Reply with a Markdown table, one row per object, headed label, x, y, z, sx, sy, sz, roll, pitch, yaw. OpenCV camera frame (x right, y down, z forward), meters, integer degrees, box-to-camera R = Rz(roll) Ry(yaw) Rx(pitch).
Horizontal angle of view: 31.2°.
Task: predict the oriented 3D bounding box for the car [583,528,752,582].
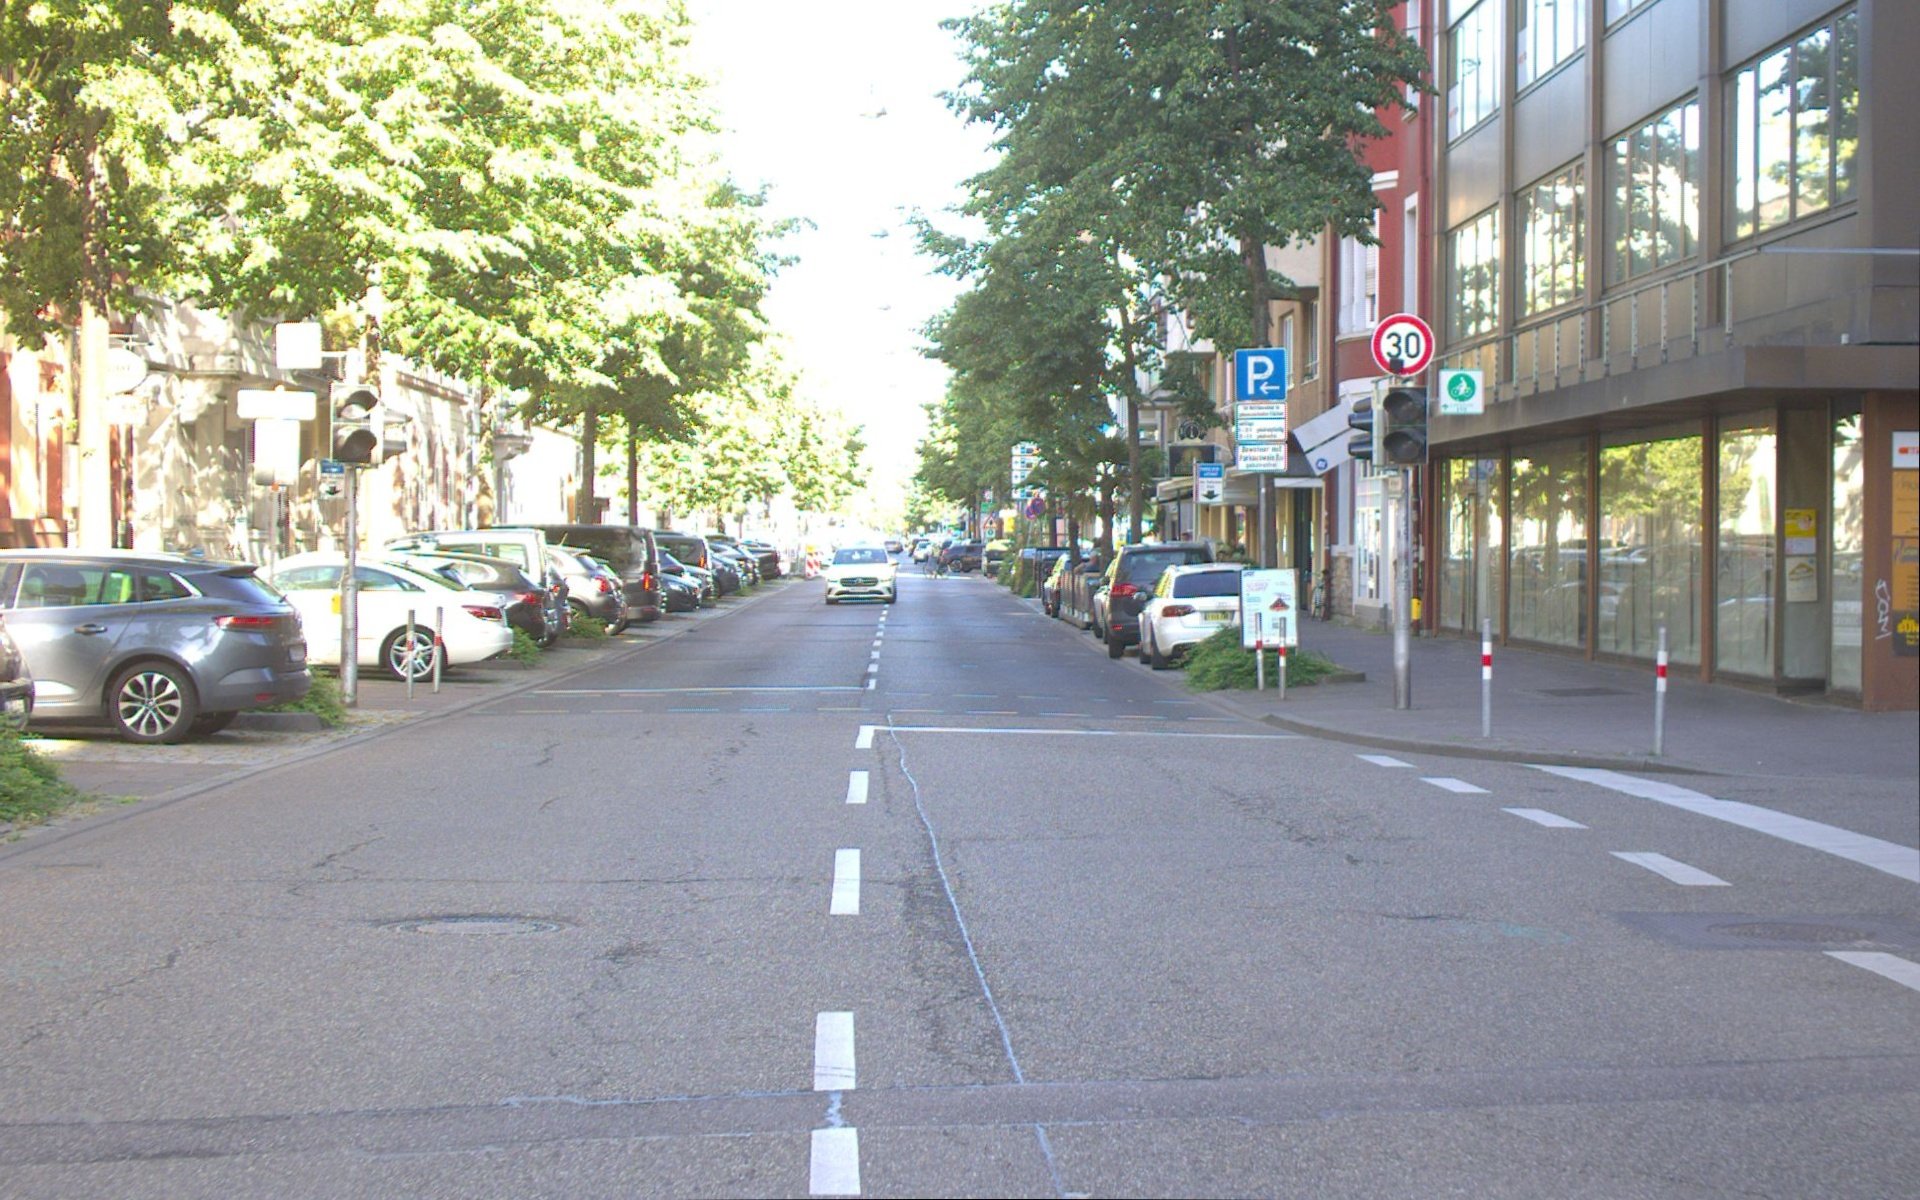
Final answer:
| label | x | y | z | sx | sy | sz | roll | pitch | yaw |
| --- | --- | --- | --- | --- | --- | --- | --- | --- | --- |
| car | -8.281 | -1.289 | 97.601 | 4.645 | 1.454 | 1.684 | 1 | 1 | -1 |

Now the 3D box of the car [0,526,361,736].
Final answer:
| label | x | y | z | sx | sy | sz | roll | pitch | yaw |
| --- | --- | --- | --- | --- | --- | --- | --- | --- | --- |
| car | -7.013 | 0.199 | 26.698 | 4.339 | 1.539 | 1.944 | 1 | 1 | 1 |

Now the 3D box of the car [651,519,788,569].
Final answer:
| label | x | y | z | sx | sy | sz | roll | pitch | yaw |
| --- | --- | --- | --- | --- | --- | --- | --- | --- | --- |
| car | -8.471 | -1.991 | 121.273 | 4.680 | 1.687 | 1.808 | 1 | 1 | 1 |

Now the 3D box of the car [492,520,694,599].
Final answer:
| label | x | y | z | sx | sy | sz | roll | pitch | yaw |
| --- | --- | --- | --- | --- | --- | --- | --- | --- | --- |
| car | -8.204 | -0.913 | 77.099 | 4.339 | 1.703 | 1.917 | 1 | 1 | -1 |

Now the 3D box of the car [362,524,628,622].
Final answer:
| label | x | y | z | sx | sy | sz | roll | pitch | yaw |
| --- | --- | --- | --- | --- | --- | --- | --- | --- | --- |
| car | -7.918 | -0.469 | 58.881 | 4.339 | 1.590 | 1.917 | 1 | 1 | -2 |

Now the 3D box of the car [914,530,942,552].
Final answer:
| label | x | y | z | sx | sy | sz | roll | pitch | yaw |
| --- | --- | --- | --- | --- | --- | --- | --- | --- | --- |
| car | -2.062 | -3.792 | 220.241 | 1.792 | 1.406 | 4.000 | 0 | 2 | -1 |

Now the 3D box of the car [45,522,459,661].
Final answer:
| label | x | y | z | sx | sy | sz | roll | pitch | yaw |
| --- | --- | --- | --- | --- | --- | --- | --- | --- | --- |
| car | -8.539 | -0.119 | 41.781 | 4.698 | 1.487 | 2.001 | 2 | 2 | -5 |

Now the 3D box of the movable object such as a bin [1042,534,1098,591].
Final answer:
| label | x | y | z | sx | sy | sz | roll | pitch | yaw |
| --- | --- | --- | --- | --- | --- | --- | --- | --- | --- |
| movable object such as a bin | 2.822 | -0.965 | 88.363 | 1.399 | 1.449 | 1.146 | 0 | 1 | -1 |

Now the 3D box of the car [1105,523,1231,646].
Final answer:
| label | x | y | z | sx | sy | sz | roll | pitch | yaw |
| --- | --- | --- | --- | --- | --- | --- | --- | --- | --- |
| car | 3.246 | -0.287 | 54.034 | 1.822 | 1.771 | 4.930 | -2 | 1 | 3 |

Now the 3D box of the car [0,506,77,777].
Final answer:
| label | x | y | z | sx | sy | sz | roll | pitch | yaw |
| --- | --- | --- | --- | --- | --- | --- | --- | --- | --- |
| car | -7.764 | 0.213 | 21.419 | 3.987 | 1.634 | 1.944 | 1 | 1 | 1 |

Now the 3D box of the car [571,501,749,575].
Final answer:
| label | x | y | z | sx | sy | sz | roll | pitch | yaw |
| --- | --- | --- | --- | --- | --- | --- | --- | --- | --- |
| car | -8.209 | -1.705 | 94.281 | 4.680 | 1.943 | 1.917 | 1 | 1 | 1 |

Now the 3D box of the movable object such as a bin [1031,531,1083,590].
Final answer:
| label | x | y | z | sx | sy | sz | roll | pitch | yaw |
| --- | --- | --- | --- | --- | --- | --- | --- | --- | --- |
| movable object such as a bin | 2.556 | -1.039 | 90.703 | 1.330 | 1.537 | 1.146 | 0 | 1 | -1 |

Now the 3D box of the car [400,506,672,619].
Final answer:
| label | x | y | z | sx | sy | sz | roll | pitch | yaw |
| --- | --- | --- | --- | --- | --- | --- | --- | --- | --- |
| car | -7.544 | -0.678 | 61.462 | 4.573 | 1.920 | 1.930 | 1 | 1 | 2 |

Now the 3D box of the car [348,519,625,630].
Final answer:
| label | x | y | z | sx | sy | sz | roll | pitch | yaw |
| --- | --- | --- | --- | --- | --- | --- | --- | --- | --- |
| car | -7.737 | -0.427 | 56.459 | 4.339 | 1.727 | 1.917 | 1 | 1 | -2 |

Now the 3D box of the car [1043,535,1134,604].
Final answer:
| label | x | y | z | sx | sy | sz | roll | pitch | yaw |
| --- | --- | --- | --- | --- | --- | --- | --- | --- | --- |
| car | 2.954 | -0.737 | 79.820 | 1.822 | 1.467 | 4.912 | -2 | 1 | -1 |

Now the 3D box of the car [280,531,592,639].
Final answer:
| label | x | y | z | sx | sy | sz | roll | pitch | yaw |
| --- | --- | --- | --- | --- | --- | --- | --- | --- | --- |
| car | -7.884 | -0.241 | 51.940 | 4.340 | 1.539 | 1.916 | 1 | 1 | 4 |

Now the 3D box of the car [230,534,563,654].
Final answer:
| label | x | y | z | sx | sy | sz | roll | pitch | yaw |
| --- | --- | --- | --- | --- | --- | --- | --- | --- | --- |
| car | -7.649 | -0.090 | 46.496 | 4.338 | 1.539 | 1.965 | 1 | 1 | -12 |

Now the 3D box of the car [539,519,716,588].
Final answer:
| label | x | y | z | sx | sy | sz | roll | pitch | yaw |
| --- | --- | --- | --- | --- | --- | --- | --- | --- | --- |
| car | -8.815 | -1.243 | 91.340 | 4.466 | 1.766 | 1.917 | 1 | 1 | 1 |

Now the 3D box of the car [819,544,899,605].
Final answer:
| label | x | y | z | sx | sy | sz | roll | pitch | yaw |
| --- | --- | --- | --- | --- | --- | --- | --- | --- | --- |
| car | -2.635 | -0.695 | 90.524 | 1.910 | 1.539 | 4.354 | 1 | 1 | 1 |

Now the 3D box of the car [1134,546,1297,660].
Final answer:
| label | x | y | z | sx | sy | sz | roll | pitch | yaw |
| --- | --- | --- | --- | --- | --- | --- | --- | --- | --- |
| car | 3.481 | -0.003 | 47.610 | 1.822 | 1.398 | 4.842 | -2 | 1 | 0 |

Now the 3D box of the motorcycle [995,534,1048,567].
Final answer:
| label | x | y | z | sx | sy | sz | roll | pitch | yaw |
| --- | --- | --- | --- | --- | --- | --- | --- | --- | --- |
| motorcycle | 2.484 | -2.004 | 138.566 | 1.977 | 1.325 | 0.912 | 0 | 1 | -13 |

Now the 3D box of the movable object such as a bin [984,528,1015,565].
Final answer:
| label | x | y | z | sx | sy | sz | roll | pitch | yaw |
| --- | --- | --- | --- | --- | --- | --- | --- | --- | --- |
| movable object such as a bin | 1.718 | -2.313 | 148.894 | 1.143 | 1.556 | 1.459 | 0 | 1 | 8 |

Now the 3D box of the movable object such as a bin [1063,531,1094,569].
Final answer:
| label | x | y | z | sx | sy | sz | roll | pitch | yaw |
| --- | --- | --- | --- | --- | --- | --- | --- | --- | --- |
| movable object such as a bin | 5.027 | -2.141 | 146.350 | 1.205 | 1.622 | 1.498 | 0 | 1 | -2 |

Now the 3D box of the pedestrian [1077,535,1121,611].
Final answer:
| label | x | y | z | sx | sy | sz | roll | pitch | yaw |
| --- | --- | --- | --- | --- | --- | --- | --- | --- | --- |
| pedestrian | 2.818 | -0.544 | 69.757 | 0.750 | 1.531 | 0.807 | 0 | 1 | 14 |

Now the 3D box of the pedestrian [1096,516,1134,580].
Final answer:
| label | x | y | z | sx | sy | sz | roll | pitch | yaw |
| --- | --- | --- | --- | --- | --- | --- | --- | --- | --- |
| pedestrian | 4.680 | -1.572 | 103.932 | 0.926 | 1.929 | 0.760 | 1 | 1 | 24 |

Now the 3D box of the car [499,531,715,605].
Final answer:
| label | x | y | z | sx | sy | sz | roll | pitch | yaw |
| --- | --- | --- | --- | --- | --- | --- | --- | --- | --- |
| car | -7.669 | -0.700 | 74.902 | 4.466 | 1.535 | 1.916 | 1 | 1 | 1 |

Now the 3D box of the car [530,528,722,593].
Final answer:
| label | x | y | z | sx | sy | sz | roll | pitch | yaw |
| --- | --- | --- | --- | --- | --- | --- | --- | --- | --- |
| car | -8.195 | -0.979 | 84.604 | 4.466 | 1.535 | 1.916 | 1 | 1 | 3 |

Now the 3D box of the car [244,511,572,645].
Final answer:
| label | x | y | z | sx | sy | sz | roll | pitch | yaw |
| --- | --- | --- | --- | --- | --- | --- | --- | --- | --- |
| car | -7.865 | -0.332 | 49.214 | 4.339 | 1.818 | 1.930 | 1 | 1 | 1 |

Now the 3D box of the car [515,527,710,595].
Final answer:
| label | x | y | z | sx | sy | sz | roll | pitch | yaw |
| --- | --- | --- | --- | --- | --- | --- | --- | --- | --- |
| car | -8.248 | -0.942 | 81.848 | 4.466 | 1.535 | 1.917 | 1 | 1 | -1 |

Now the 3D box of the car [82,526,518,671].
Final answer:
| label | x | y | z | sx | sy | sz | roll | pitch | yaw |
| --- | --- | --- | --- | --- | --- | --- | --- | --- | --- |
| car | -7.498 | -0.009 | 39.431 | 4.698 | 1.487 | 2.000 | 2 | 0 | -5 |

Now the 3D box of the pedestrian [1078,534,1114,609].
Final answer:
| label | x | y | z | sx | sy | sz | roll | pitch | yaw |
| --- | --- | --- | --- | --- | --- | --- | --- | --- | --- |
| pedestrian | 2.807 | -0.601 | 71.069 | 0.650 | 1.531 | 0.980 | 0 | 1 | -2 |

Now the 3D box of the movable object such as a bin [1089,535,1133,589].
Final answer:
| label | x | y | z | sx | sy | sz | roll | pitch | yaw |
| --- | --- | --- | --- | --- | --- | --- | --- | --- | --- |
| movable object such as a bin | 3.979 | -1.010 | 90.716 | 1.077 | 1.426 | 1.295 | 0 | 1 | -1 |
